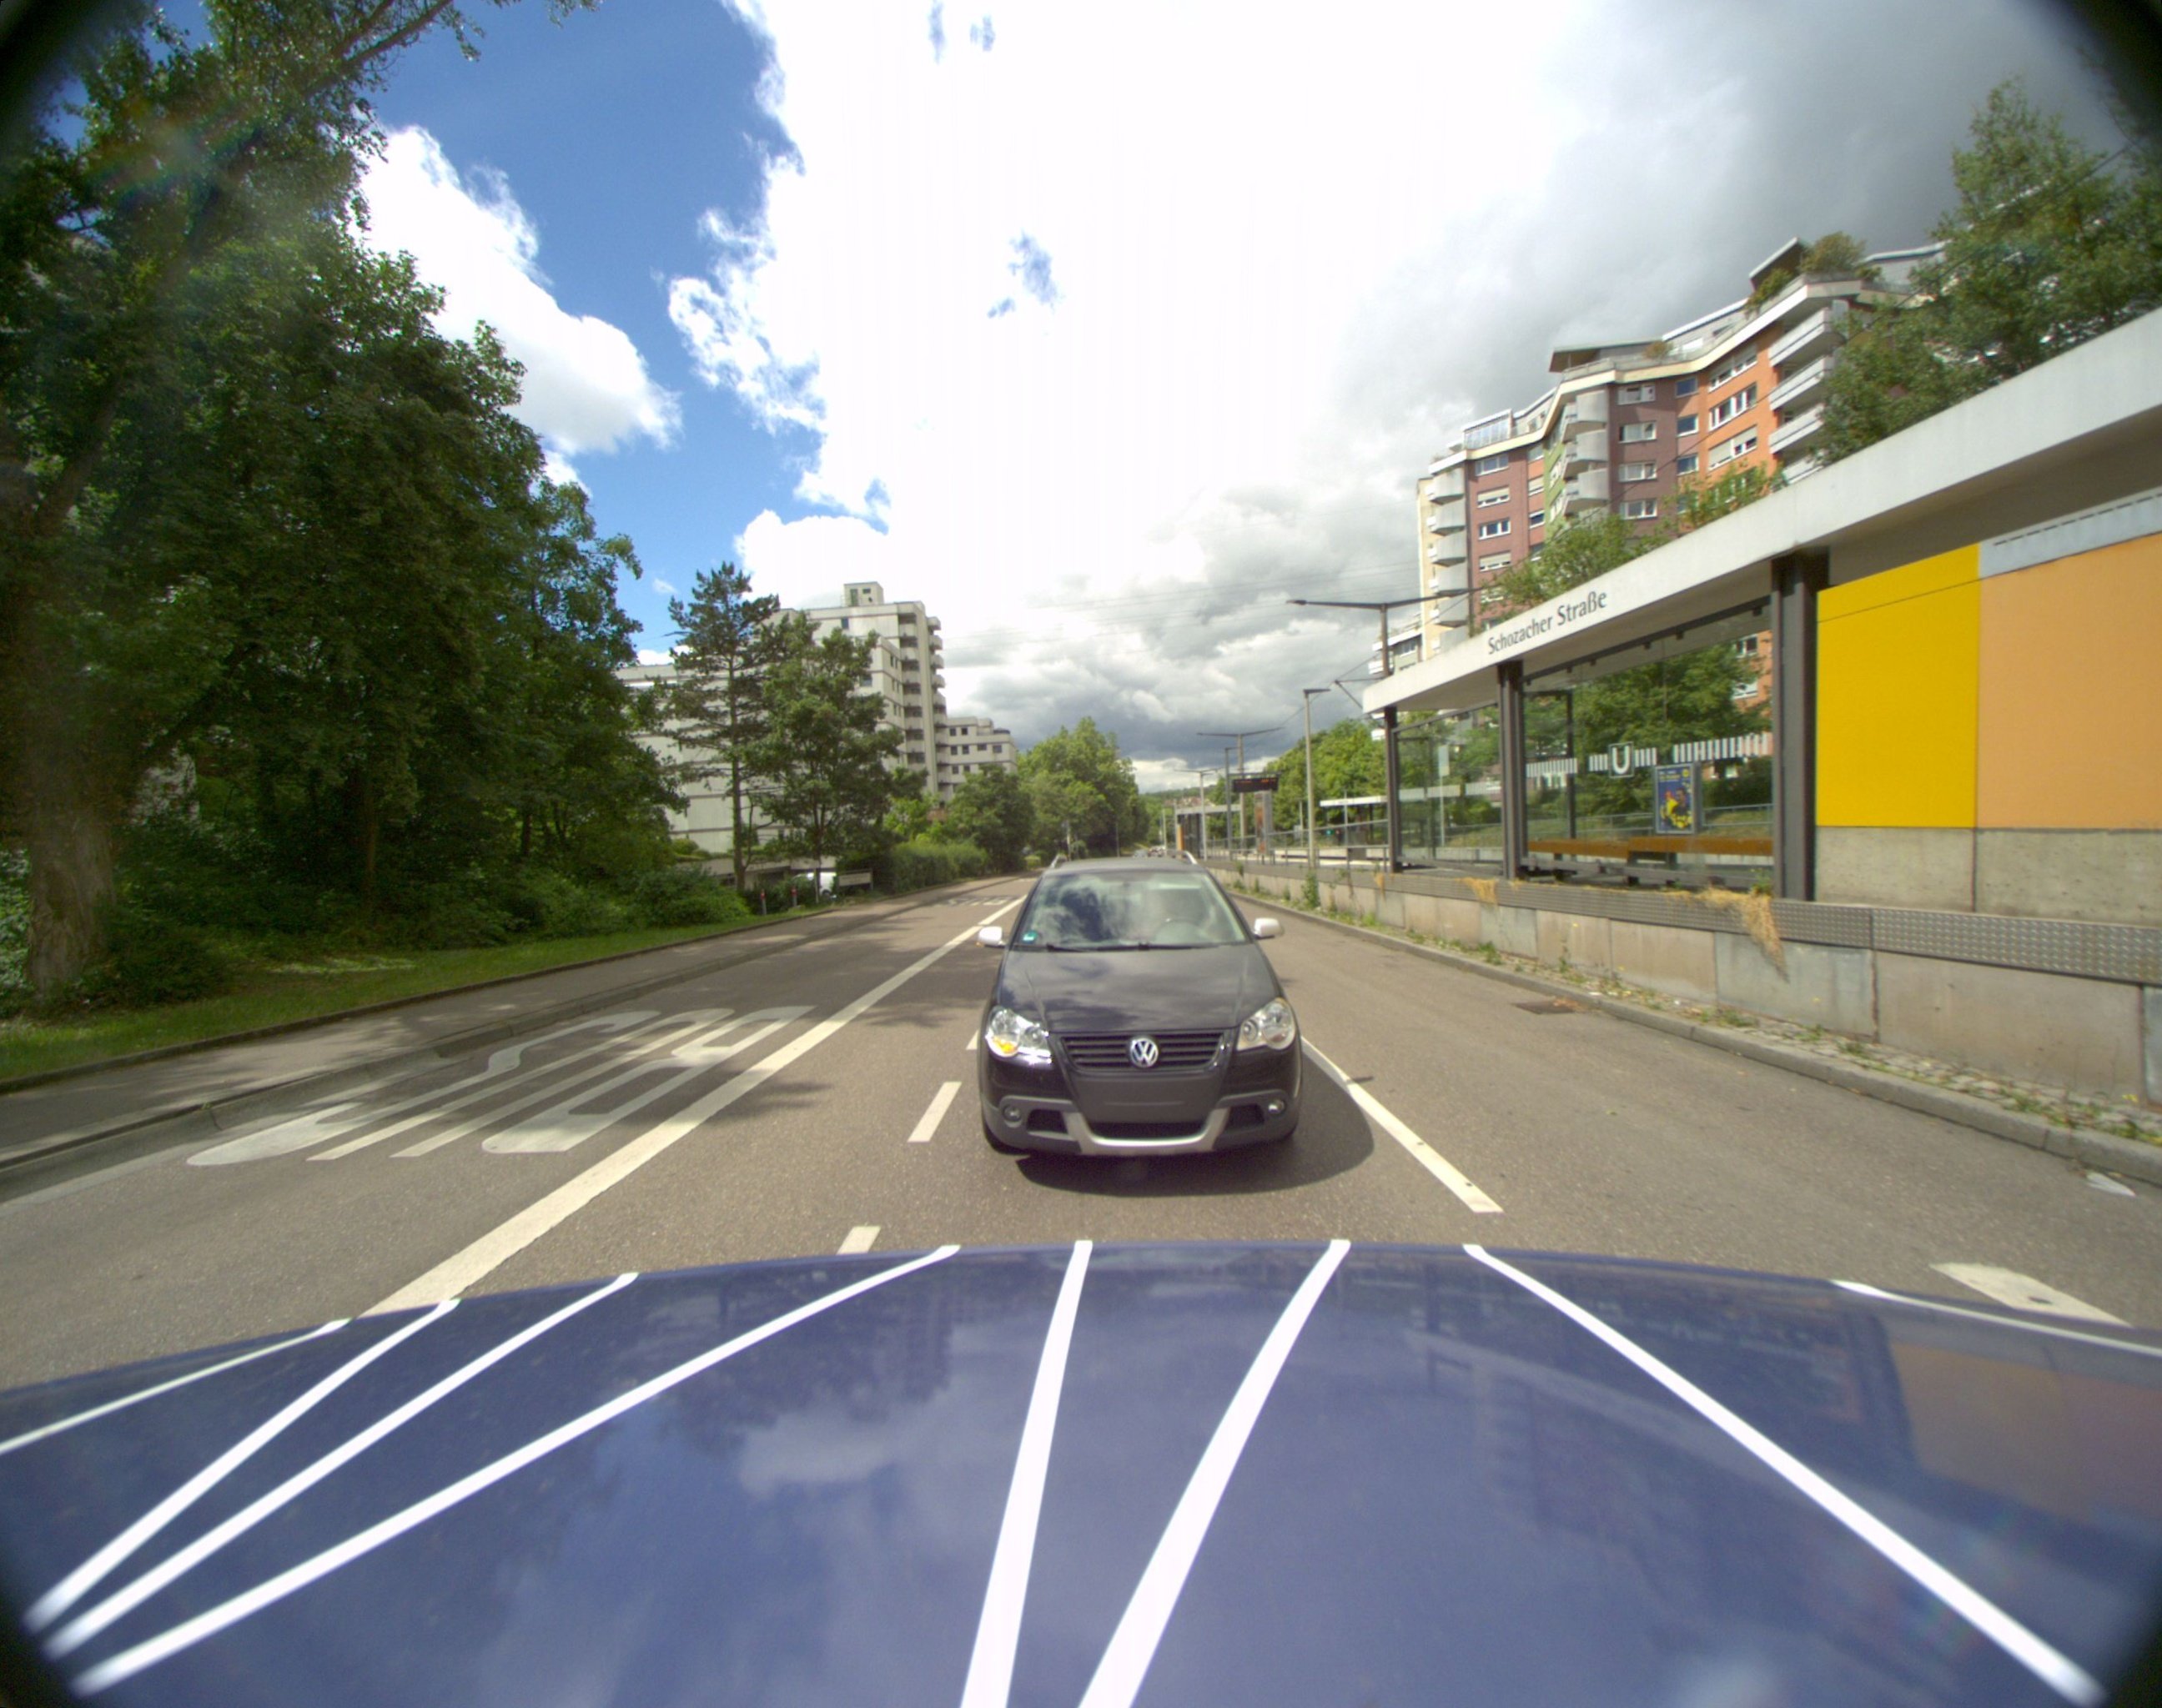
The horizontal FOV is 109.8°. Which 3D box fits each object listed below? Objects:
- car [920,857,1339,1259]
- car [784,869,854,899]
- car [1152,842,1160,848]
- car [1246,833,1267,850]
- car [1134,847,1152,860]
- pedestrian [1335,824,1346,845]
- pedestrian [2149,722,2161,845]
[{"bbox_3d":[0.287,0.853,5.083,1.641,1.521,4.000,-2,1,3],"label":"car"},{"bbox_3d":[-19.890,2.235,57.801,4.543,2.002,2.001,-2,1,7],"label":"car"},{"bbox_3d":[16.855,-2.010,171.269,1.643,1.395,3.708,-2,1,4],"label":"car"},{"bbox_3d":[22.157,-1.594,96.143,1.737,2.002,4.000,-2,1,2],"label":"car"},{"bbox_3d":[7.035,-0.121,86.924,1.821,1.377,4.065,-2,1,2],"label":"car"},{"bbox_3d":[16.112,-1.179,47.149,0.536,1.270,0.562,-2,1,8],"label":"pedestrian"},{"bbox_3d":[15.285,-0.993,10.588,0.354,1.703,0.426,-3,2,-41],"label":"pedestrian"}]
